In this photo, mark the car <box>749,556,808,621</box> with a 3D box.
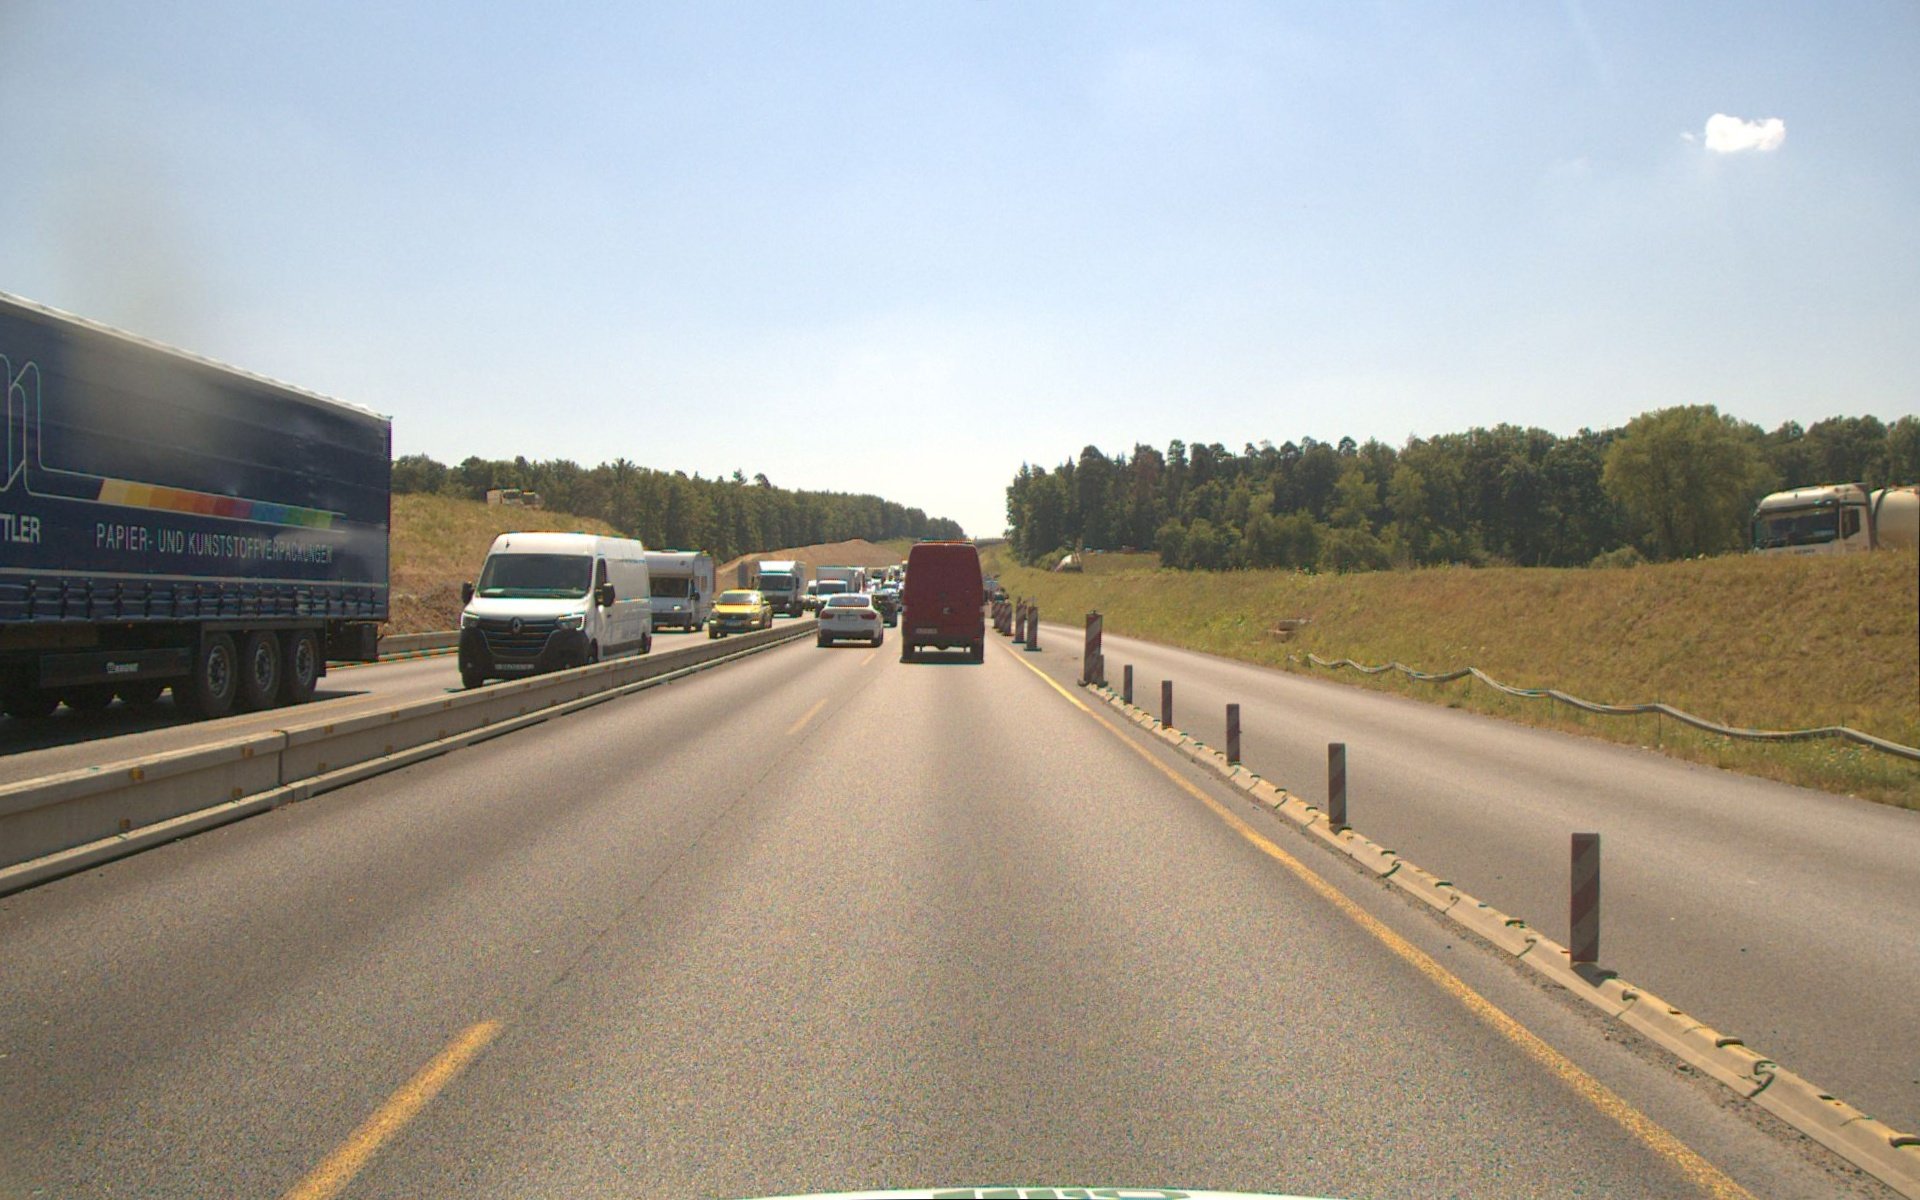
[{"bbox_3d":[-11.248,-0.737,103.062,2.849,3.805,8.089,1,1,-1],"label":"car"}]

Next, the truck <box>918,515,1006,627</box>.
[{"bbox_3d":[-0.011,-1.428,91.773,4.311,5.592,16.600,1,0,-1],"label":"truck"}]

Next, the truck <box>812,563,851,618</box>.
[{"bbox_3d":[-7.868,-0.557,101.810,2.226,3.205,7.308,1,0,-3],"label":"truck"}]

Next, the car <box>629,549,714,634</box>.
[{"bbox_3d":[-10.758,-0.287,62.127,2.206,3.007,5.847,1,0,-1],"label":"car"}]

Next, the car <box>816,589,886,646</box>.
[{"bbox_3d":[-3.137,0.488,48.124,1.794,1.548,3.960,1,0,-1],"label":"car"}]

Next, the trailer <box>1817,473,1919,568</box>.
[{"bbox_3d":[30.396,-2.311,49.230,8.720,2.652,2.462,0,0,-5],"label":"trailer"}]

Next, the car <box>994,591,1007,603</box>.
[{"bbox_3d":[5.297,-0.354,216.173,1.620,1.451,4.545,-2,1,0],"label":"car"}]

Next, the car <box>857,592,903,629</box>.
[{"bbox_3d":[-3.598,0.461,74.959,1.927,1.568,4.310,1,1,-1],"label":"car"}]

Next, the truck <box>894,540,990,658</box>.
[{"bbox_3d":[-0.431,-0.016,39.907,2.109,2.635,5.332,1,0,-1],"label":"truck"}]

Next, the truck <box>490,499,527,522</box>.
[{"bbox_3d":[-64.911,-12.788,237.421,2.336,2.949,8.260,1,0,-36],"label":"truck"}]

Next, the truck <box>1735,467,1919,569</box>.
[{"bbox_3d":[25.092,-2.284,47.756,5.253,2.589,2.866,1,0,-38],"label":"truck"}]

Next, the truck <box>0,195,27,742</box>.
[{"bbox_3d":[-9.743,-1.165,11.518,2.905,4.733,6.242,1,0,-1],"label":"truck"}]

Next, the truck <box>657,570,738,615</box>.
[{"bbox_3d":[-18.530,-0.511,116.781,4.996,3.016,2.559,2,-1,-32],"label":"truck"}]

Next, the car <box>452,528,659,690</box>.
[{"bbox_3d":[-6.609,0.090,27.806,1.994,2.384,6.195,1,1,-1],"label":"car"}]

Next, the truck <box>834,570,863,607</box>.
[{"bbox_3d":[-11.796,-1.159,175.702,2.591,3.781,9.480,1,0,-1],"label":"truck"}]

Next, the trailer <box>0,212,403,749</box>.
[{"bbox_3d":[-9.888,-1.042,18.645,2.925,4.676,12.881,1,0,-1],"label":"trailer"}]

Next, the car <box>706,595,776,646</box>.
[{"bbox_3d":[-7.261,0.659,55.239,1.726,1.601,4.362,1,0,0],"label":"car"}]

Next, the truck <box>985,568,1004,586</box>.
[{"bbox_3d":[4.933,-3.312,234.120,2.084,2.499,5.930,1,1,6],"label":"truck"}]
